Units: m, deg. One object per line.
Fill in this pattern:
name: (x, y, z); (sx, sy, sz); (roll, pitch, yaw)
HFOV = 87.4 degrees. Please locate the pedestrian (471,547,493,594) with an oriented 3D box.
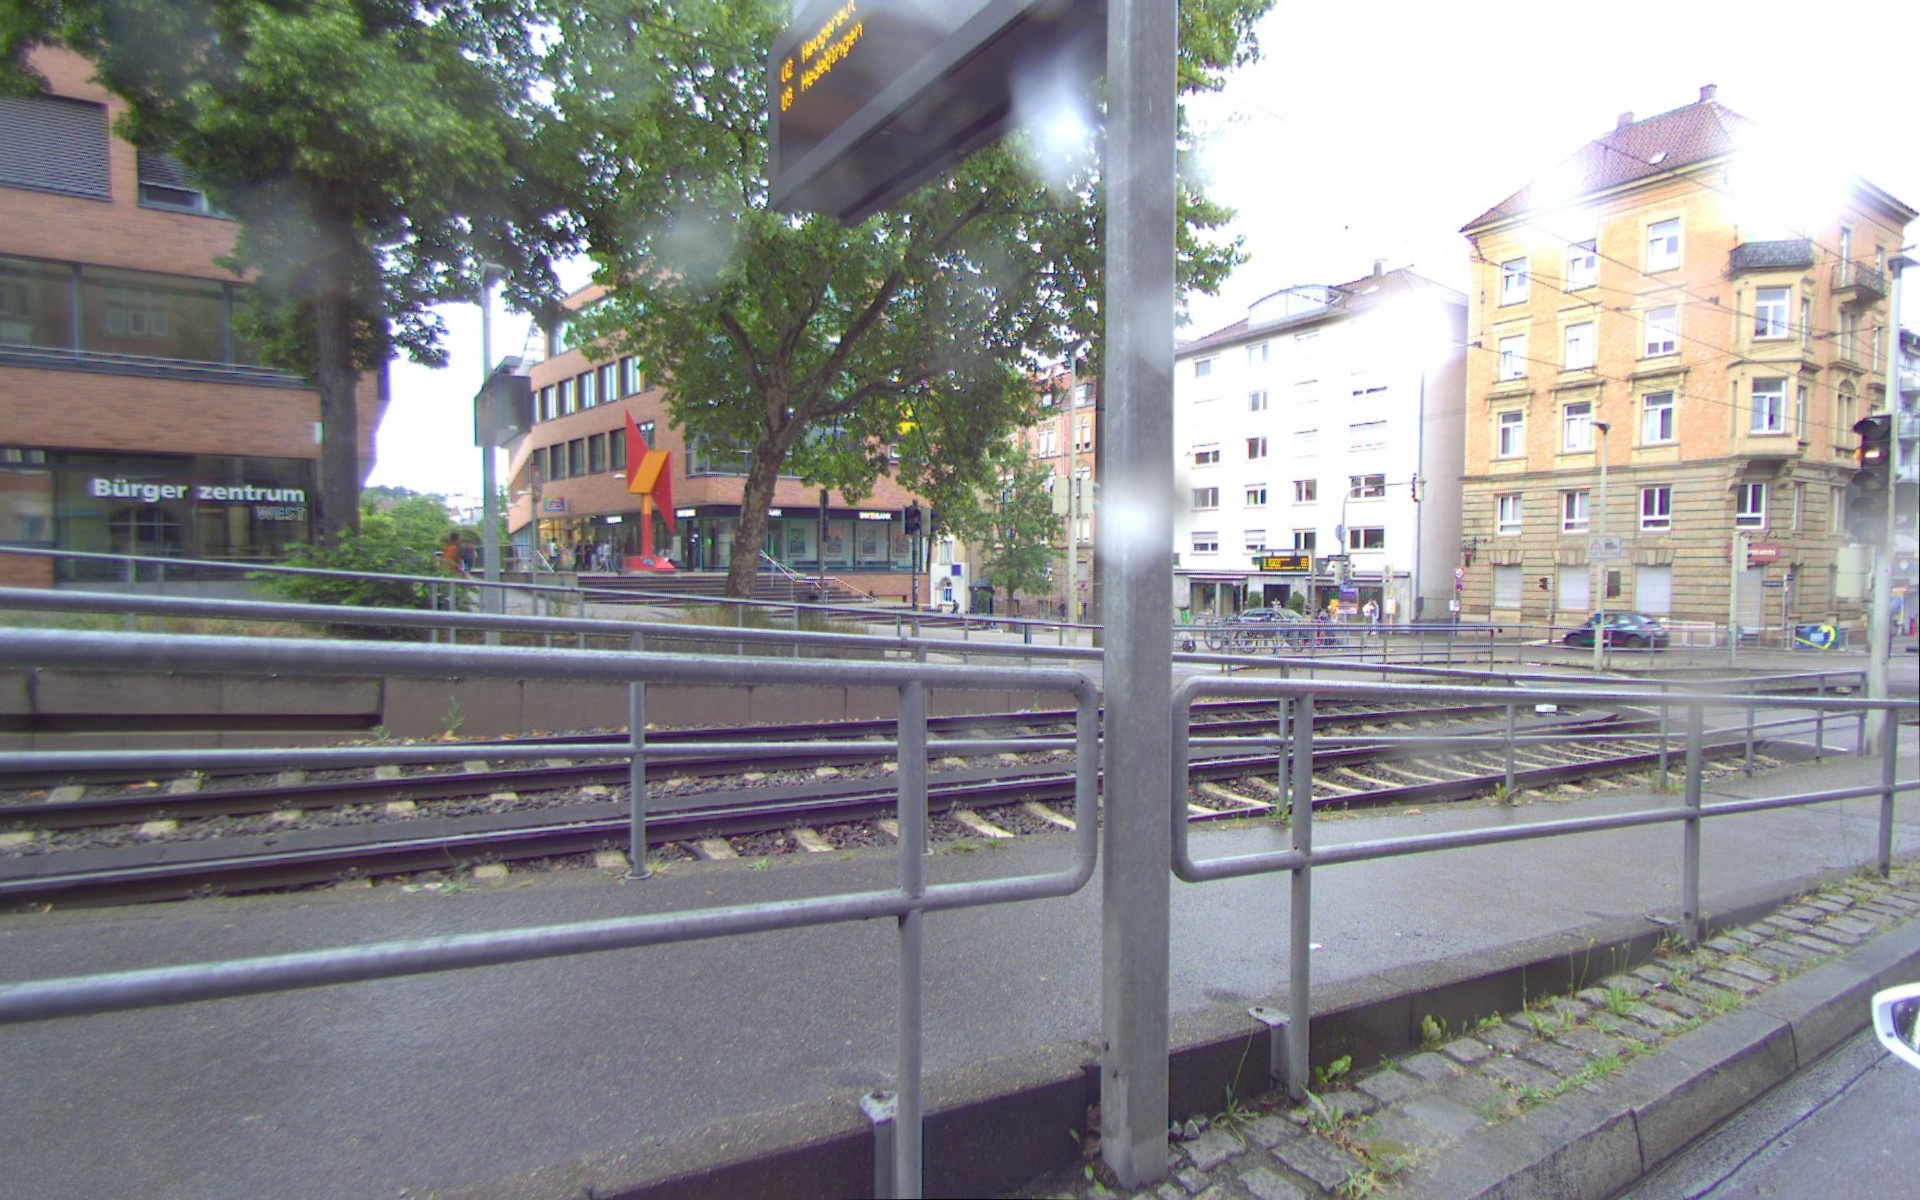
pedestrian: (-21.073, -1.288, 44.297); (0.711, 2.040, 0.713); (1, 0, -38)

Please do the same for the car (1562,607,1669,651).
car: (25.243, 1.100, 38.735); (1.408, 1.509, 3.134); (0, 2, -32)

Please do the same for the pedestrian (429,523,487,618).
pedestrian: (-11.178, -0.641, 22.374); (0.973, 2.041, 0.726); (1, 1, -41)

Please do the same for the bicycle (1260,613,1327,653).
bicycle: (9.866, 0.957, 29.778); (0.514, 1.079, 1.852); (1, 1, -43)

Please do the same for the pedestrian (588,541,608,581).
pedestrian: (-18.487, -1.978, 51.280); (0.707, 2.040, 0.716); (1, 0, 45)

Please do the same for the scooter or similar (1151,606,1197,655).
scooter or similar: (5.528, 0.777, 25.951); (1.090, 1.211, 0.362); (2, 1, 6)

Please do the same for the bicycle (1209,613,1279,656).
bicycle: (7.855, 0.937, 27.846); (0.514, 1.076, 1.852); (1, 1, -44)

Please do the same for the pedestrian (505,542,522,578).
pedestrian: (-25.919, -2.302, 58.313); (0.710, 2.041, 0.713); (1, 1, -37)

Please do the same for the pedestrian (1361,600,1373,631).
pedestrian: (22.119, 0.832, 54.558); (0.507, 1.643, 0.486); (2, 1, 18)

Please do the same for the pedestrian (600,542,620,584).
pedestrian: (-17.534, -1.848, 50.306); (0.711, 2.040, 0.713); (1, 0, -38)

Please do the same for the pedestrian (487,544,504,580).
pedestrian: (-26.745, -2.189, 57.856); (0.711, 2.040, 0.713); (1, 0, -38)

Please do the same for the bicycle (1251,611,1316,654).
bicycle: (9.382, 0.919, 29.178); (0.514, 1.158, 1.750); (1, 1, -43)

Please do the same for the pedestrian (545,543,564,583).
pedestrian: (-21.262, -1.938, 52.659); (0.711, 2.040, 0.713); (1, 0, -38)

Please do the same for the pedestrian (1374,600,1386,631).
pedestrian: (22.609, 0.841, 54.065); (0.507, 1.643, 0.486); (2, 1, 18)

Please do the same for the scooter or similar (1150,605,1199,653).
scooter or similar: (5.669, 0.755, 26.568); (1.226, 1.211, 0.299); (2, 1, 6)

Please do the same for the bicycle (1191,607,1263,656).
bicycle: (7.184, 0.835, 27.060); (0.514, 1.211, 1.852); (1, 1, -43)
